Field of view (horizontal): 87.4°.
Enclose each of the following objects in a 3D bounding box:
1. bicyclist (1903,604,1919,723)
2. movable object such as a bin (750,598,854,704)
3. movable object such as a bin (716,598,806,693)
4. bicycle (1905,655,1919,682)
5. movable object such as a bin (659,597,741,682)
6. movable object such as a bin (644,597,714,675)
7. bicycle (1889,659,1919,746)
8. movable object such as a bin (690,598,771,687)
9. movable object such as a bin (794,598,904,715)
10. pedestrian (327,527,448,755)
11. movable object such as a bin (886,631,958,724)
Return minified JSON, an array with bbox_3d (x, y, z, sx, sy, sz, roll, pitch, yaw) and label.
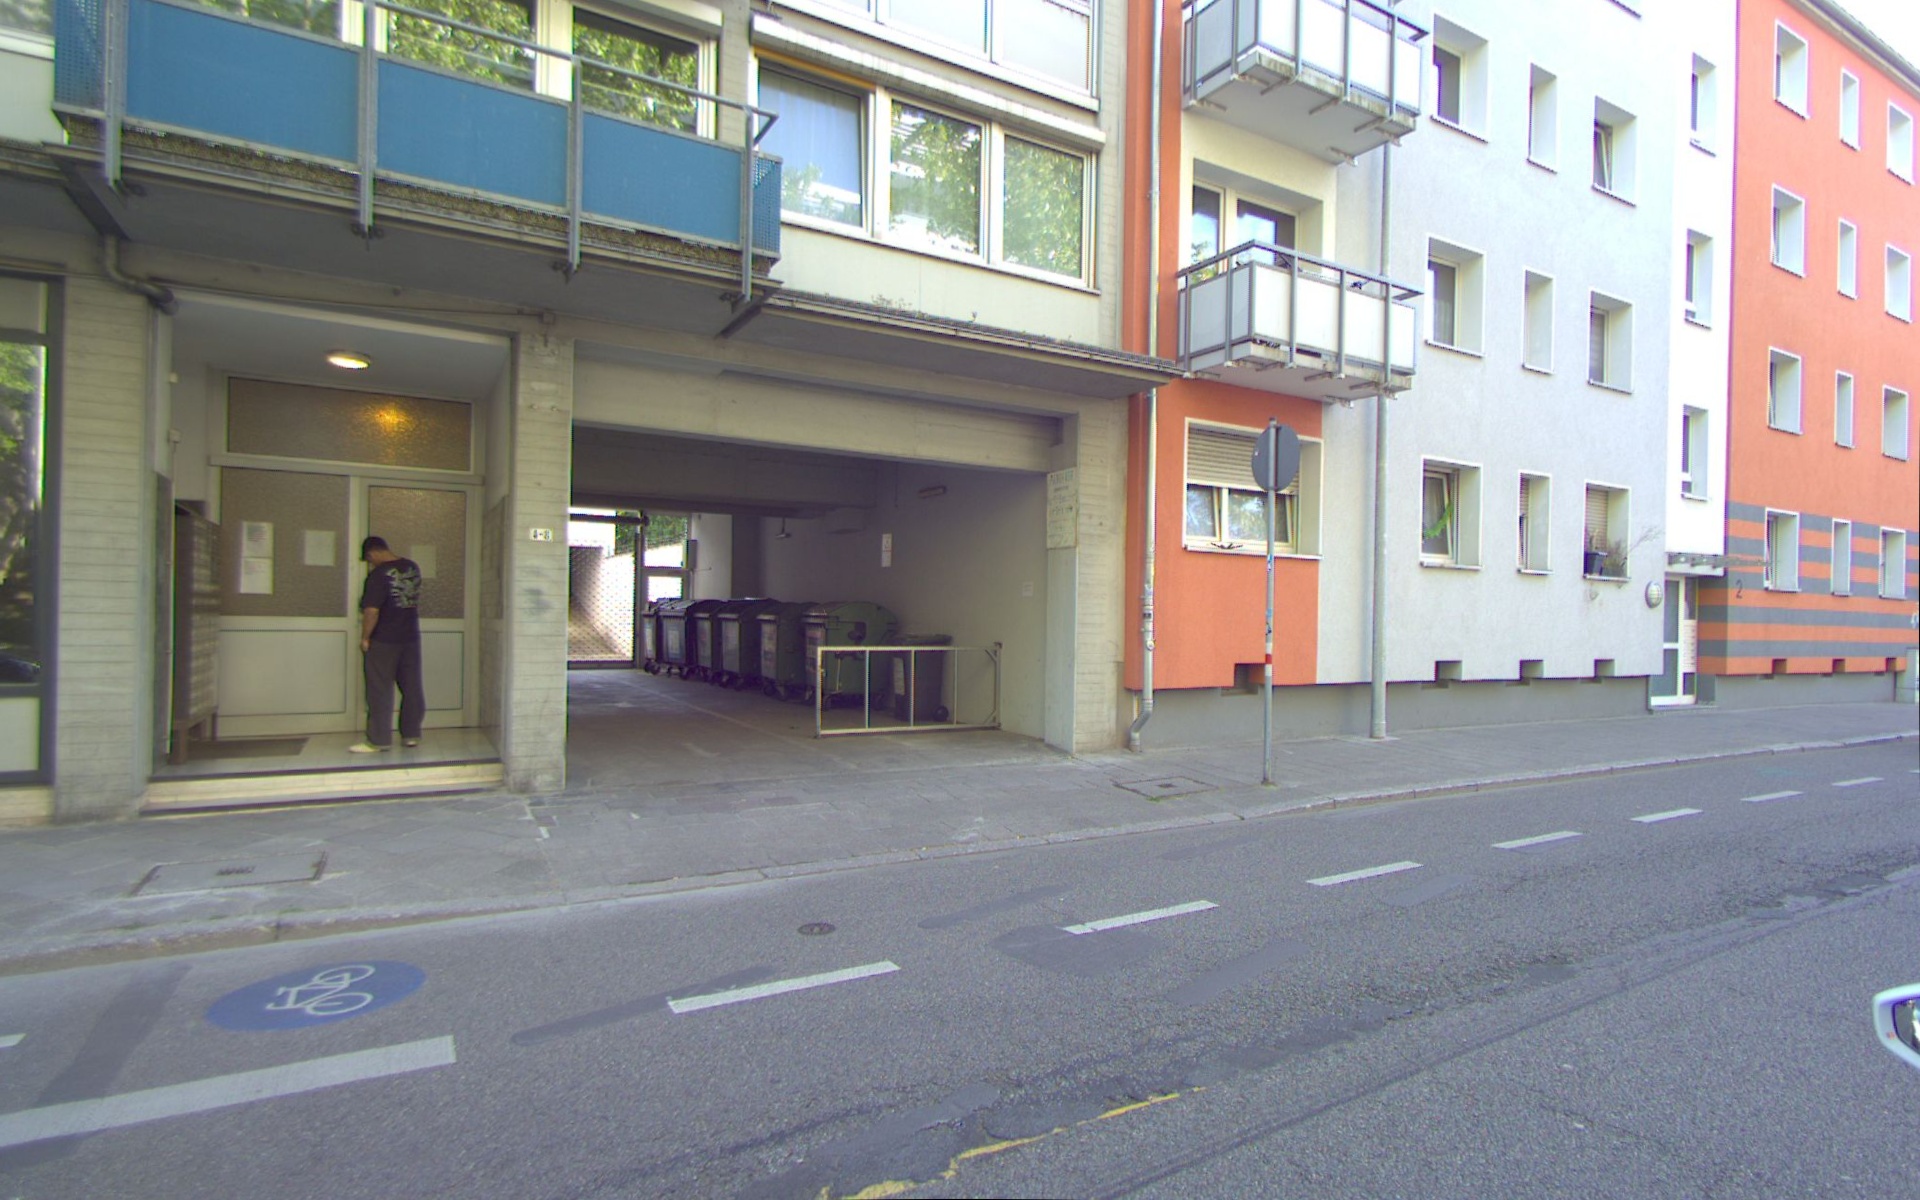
[{"bbox_3d":[13.212,0.846,13.308,0.829,1.575,0.838,1,0,-30],"label":"bicyclist"},{"bbox_3d":[-2.397,0.733,15.157,1.167,1.503,1.252,1,0,-30],"label":"movable object such as a bin"},{"bbox_3d":[-3.298,0.725,16.640,1.167,1.503,1.073,1,0,-30],"label":"movable object such as a bin"},{"bbox_3d":[30.514,2.157,31.034,0.454,0.848,1.878,1,-1,-36],"label":"bicycle"},{"bbox_3d":[-4.841,0.711,18.663,1.167,1.503,1.215,1,0,-30],"label":"movable object such as a bin"},{"bbox_3d":[-5.581,0.708,19.951,1.167,1.503,0.819,1,0,-30],"label":"movable object such as a bin"},{"bbox_3d":[13.272,1.362,13.367,1.815,1.093,0.858,1,0,-31],"label":"bicycle"},{"bbox_3d":[-4.039,0.723,17.634,1.080,1.503,1.159,1,0,-30],"label":"movable object such as a bin"},{"bbox_3d":[-1.538,0.742,13.775,1.086,1.503,1.251,1,0,-30],"label":"movable object such as a bin"},{"bbox_3d":[-4.549,0.313,8.019,0.537,1.736,0.662,1,0,3],"label":"pedestrian"},{"bbox_3d":[-0.477,0.944,12.470,0.687,1.094,0.579,1,0,-30],"label":"movable object such as a bin"}]
